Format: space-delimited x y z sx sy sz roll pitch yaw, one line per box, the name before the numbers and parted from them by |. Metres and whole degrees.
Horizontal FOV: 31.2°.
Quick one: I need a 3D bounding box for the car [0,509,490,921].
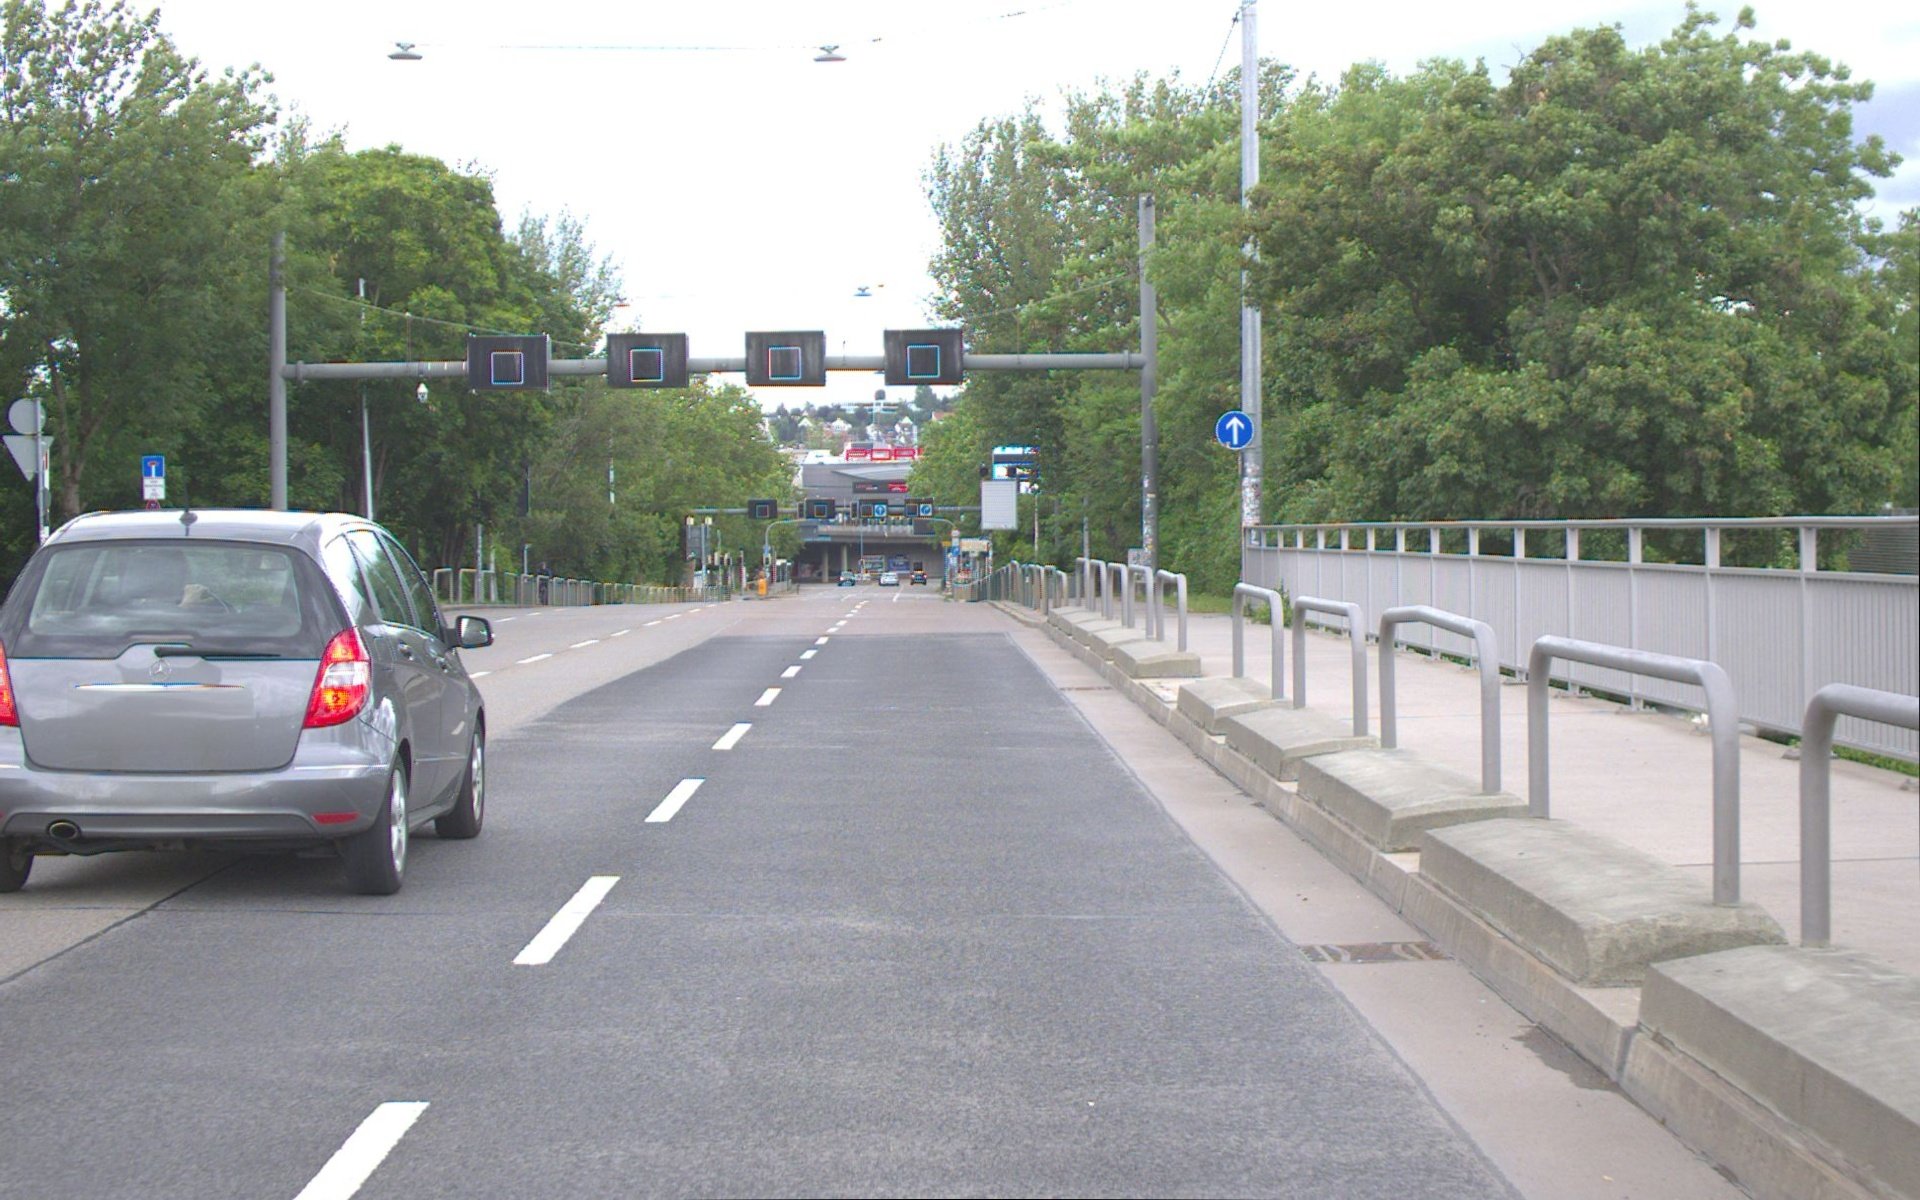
car | -3.163 0.391 15.084 1.745 1.545 3.872 0 2 -1
